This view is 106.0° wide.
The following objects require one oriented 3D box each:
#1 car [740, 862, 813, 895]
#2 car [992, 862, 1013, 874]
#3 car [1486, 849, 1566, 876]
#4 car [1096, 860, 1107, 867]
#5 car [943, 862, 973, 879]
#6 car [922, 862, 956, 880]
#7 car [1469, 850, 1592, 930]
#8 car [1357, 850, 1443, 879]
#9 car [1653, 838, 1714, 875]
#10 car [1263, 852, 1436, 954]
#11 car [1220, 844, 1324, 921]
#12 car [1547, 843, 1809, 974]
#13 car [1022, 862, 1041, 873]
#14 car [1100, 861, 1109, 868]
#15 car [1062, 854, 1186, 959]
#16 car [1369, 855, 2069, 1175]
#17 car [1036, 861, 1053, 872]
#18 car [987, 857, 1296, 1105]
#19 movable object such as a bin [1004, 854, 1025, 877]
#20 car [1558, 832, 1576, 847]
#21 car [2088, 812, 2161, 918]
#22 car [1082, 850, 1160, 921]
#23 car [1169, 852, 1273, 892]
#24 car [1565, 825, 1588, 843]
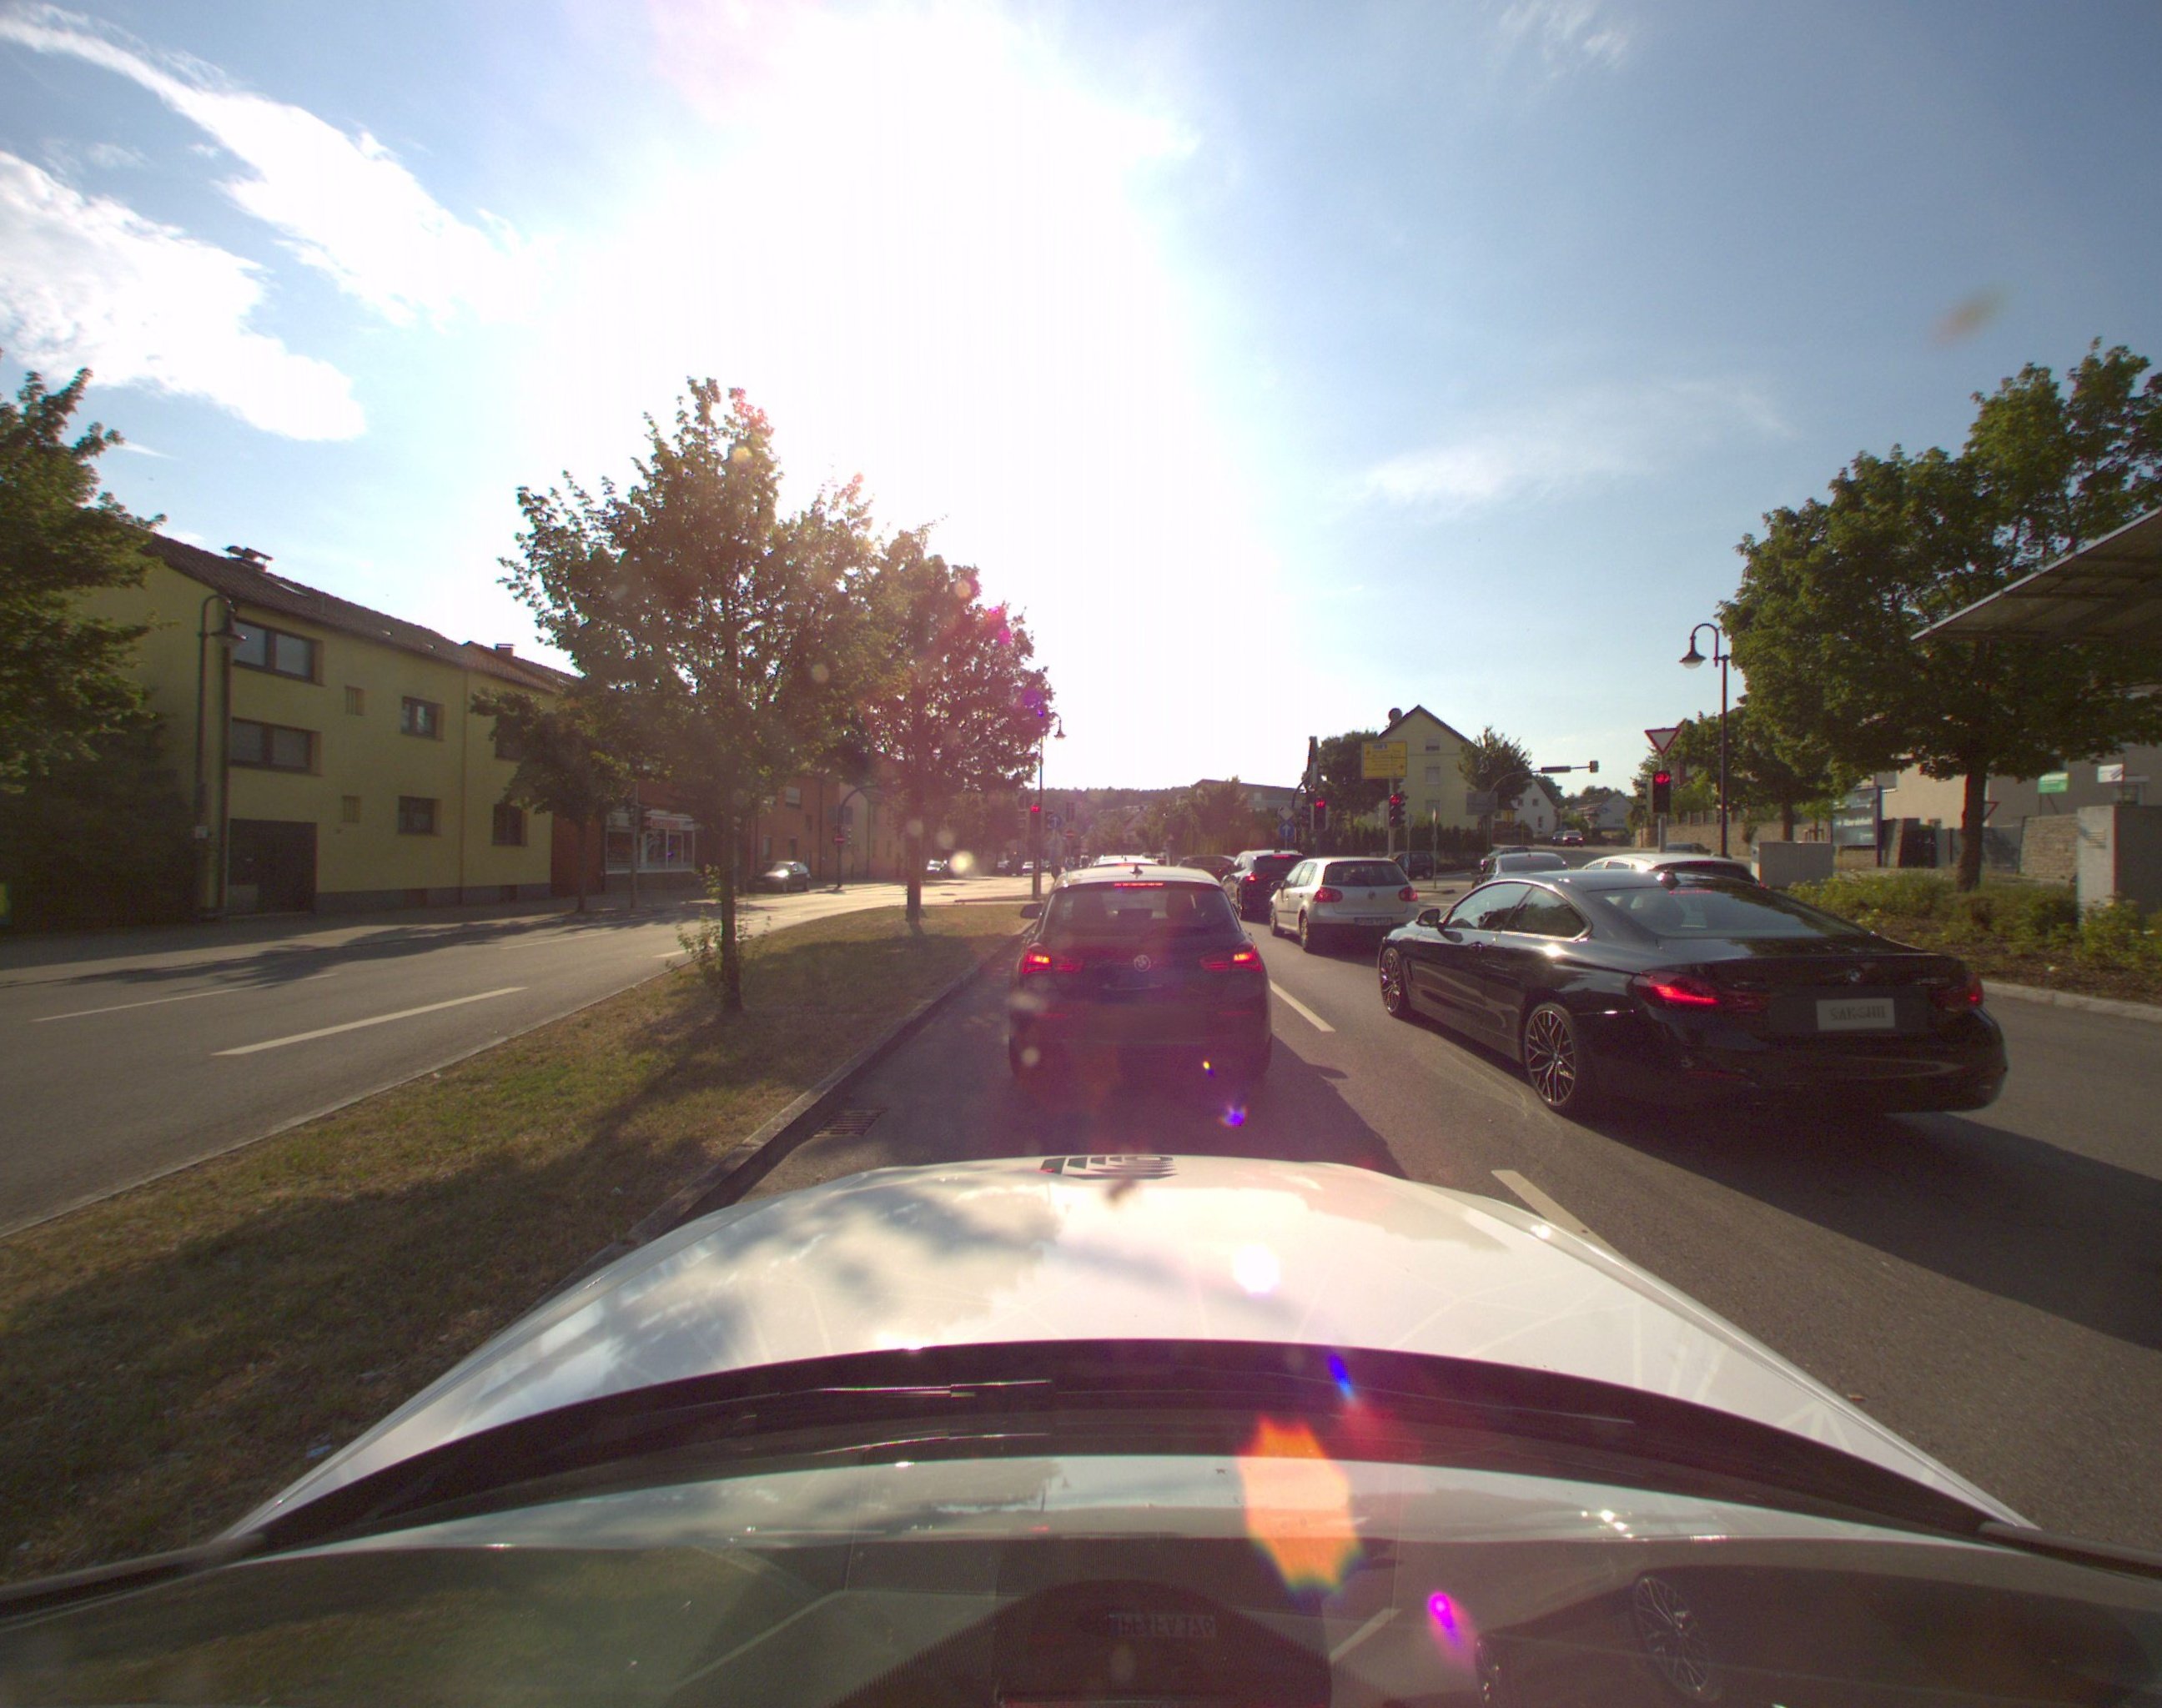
[{"bbox_3d":[-14.134,1.107,38.027,1.730,1.301,4.002,4,0,2],"label":"car"},{"bbox_3d":[-9.348,1.646,97.563,1.729,1.301,3.804,4,0,5],"label":"car"},{"bbox_3d":[26.362,0.492,48.245,3.992,1.489,1.840,0,0,-14],"label":"car"},{"bbox_3d":[3.937,1.796,154.221,1.729,1.301,3.804,4,0,5],"label":"car"},{"bbox_3d":[-11.071,1.463,73.565,1.729,1.301,4.005,4,0,5],"label":"car"},{"bbox_3d":[-11.742,1.418,67.589,1.728,1.301,4.006,4,0,6],"label":"car"},{"bbox_3d":[9.888,0.707,18.235,1.642,1.542,4.420,-2,0,19],"label":"car"},{"bbox_3d":[17.350,0.565,44.357,3.974,1.489,1.848,0,0,-1],"label":"car"},{"bbox_3d":[29.450,0.087,39.759,1.946,1.680,4.241,-2,0,42],"label":"car"},{"bbox_3d":[4.328,0.709,13.759,1.755,1.426,3.905,-2,0,2],"label":"car"},{"bbox_3d":[4.575,0.643,20.041,1.755,1.656,3.905,-2,0,2],"label":"car"},{"bbox_3d":[8.118,0.665,11.461,1.608,1.542,3.326,-2,0,9],"label":"car"},{"bbox_3d":[-6.121,1.649,100.603,1.729,1.301,3.804,4,0,5],"label":"car"},{"bbox_3d":[5.114,2.240,177.932,1.729,1.301,3.804,4,0,5],"label":"car"},{"bbox_3d":[0.726,0.773,14.108,1.781,1.494,4.283,-2,0,2],"label":"car"},{"bbox_3d":[3.627,0.733,5.819,1.755,1.397,4.283,-2,0,2],"label":"car"},{"bbox_3d":[-5.133,1.738,114.692,1.729,1.301,3.804,4,0,5],"label":"car"},{"bbox_3d":[0.449,0.766,6.964,1.781,1.397,4.283,-2,0,2],"label":"car"},{"bbox_3d":[-7.247,1.199,89.056,1.729,2.442,4.452,-1,0,3],"label":"movable object such as a bin"},{"bbox_3d":[60.488,-1.781,101.339,1.824,1.739,4.814,-1,0,31],"label":"car"},{"bbox_3d":[18.500,0.152,12.383,3.793,1.632,1.784,0,0,10],"label":"car"},{"bbox_3d":[1.026,0.734,21.147,1.781,1.594,4.283,-2,0,2],"label":"car"},{"bbox_3d":[6.272,0.812,36.456,4.162,1.680,1.983,-2,0,27],"label":"car"},{"bbox_3d":[48.980,-1.930,80.554,1.825,1.641,4.458,-1,0,29],"label":"car"}]
